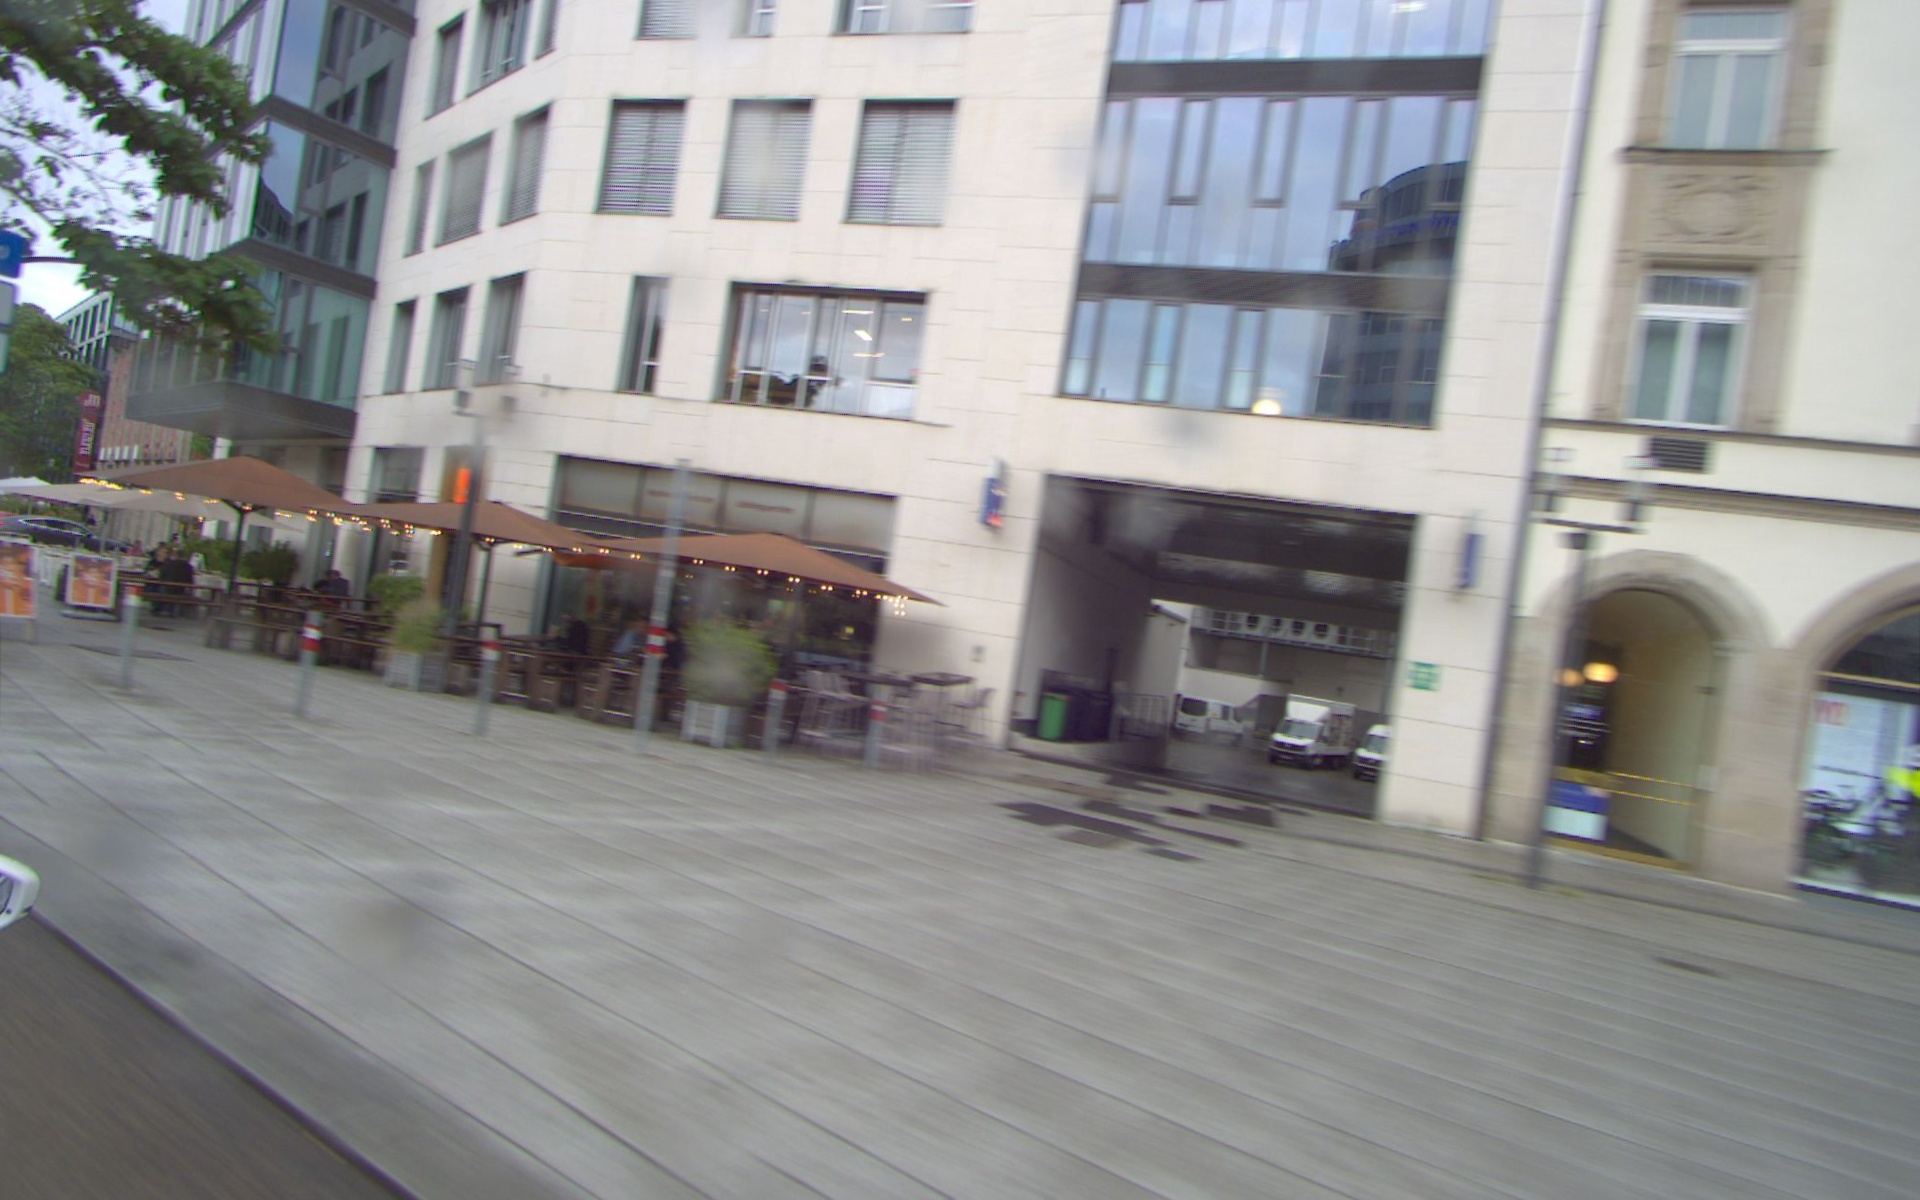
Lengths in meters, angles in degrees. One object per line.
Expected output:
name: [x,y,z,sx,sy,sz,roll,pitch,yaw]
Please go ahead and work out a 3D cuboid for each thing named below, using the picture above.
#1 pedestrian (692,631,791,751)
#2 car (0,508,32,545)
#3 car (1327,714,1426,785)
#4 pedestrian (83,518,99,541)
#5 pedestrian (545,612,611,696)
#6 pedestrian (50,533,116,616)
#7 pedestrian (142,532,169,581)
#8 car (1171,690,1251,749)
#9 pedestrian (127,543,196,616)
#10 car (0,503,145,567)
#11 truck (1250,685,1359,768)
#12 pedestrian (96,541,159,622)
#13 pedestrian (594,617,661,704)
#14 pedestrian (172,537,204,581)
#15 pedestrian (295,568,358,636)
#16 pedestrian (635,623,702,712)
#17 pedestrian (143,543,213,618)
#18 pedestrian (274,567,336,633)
pedestrian: [-2.669,1.120,12.328,0.626,1.340,0.775,7,-4,37]
car: [-42.963,-3.454,43.737,3.466,1.431,1.616,9,-3,-2]
car: [19.998,7.183,48.022,2.785,2.673,7.706,7,-4,33]
pedestrian: [-67.287,-5.475,77.875,0.641,1.679,0.648,6,-4,42]
pedestrian: [-6.624,0.940,17.466,0.624,1.340,0.630,8,-3,18]
pedestrian: [-15.472,-0.451,17.745,0.559,1.340,0.607,7,-4,38]
pedestrian: [-24.697,-1.327,30.897,0.471,1.420,0.434,7,-1,41]
car: [13.491,6.435,53.939,1.991,2.560,5.024,7,-4,39]
pedestrian: [-16.506,-0.427,20.795,0.626,1.340,0.818,7,-4,38]
car: [-35.990,-2.625,40.364,1.977,1.709,4.734,7,-3,41]
truck: [16.917,6.255,49.036,2.786,3.260,7.705,7,-4,34]
pedestrian: [-15.098,-0.327,18.251,0.559,1.340,0.607,7,-4,38]
pedestrian: [-5.592,1.028,16.925,0.624,1.340,0.630,8,-3,18]
pedestrian: [-34.592,-1.855,45.099,0.794,1.828,0.610,7,-2,26]
pedestrian: [-14.036,0.046,22.296,0.626,1.340,0.818,7,-4,38]
pedestrian: [-4.805,1.122,16.614,0.624,1.340,0.630,8,-3,18]
pedestrian: [-15.696,-0.380,20.197,0.626,1.340,0.818,7,-4,38]
pedestrian: [-14.803,0.000,22.739,0.626,1.340,0.818,7,-4,38]
